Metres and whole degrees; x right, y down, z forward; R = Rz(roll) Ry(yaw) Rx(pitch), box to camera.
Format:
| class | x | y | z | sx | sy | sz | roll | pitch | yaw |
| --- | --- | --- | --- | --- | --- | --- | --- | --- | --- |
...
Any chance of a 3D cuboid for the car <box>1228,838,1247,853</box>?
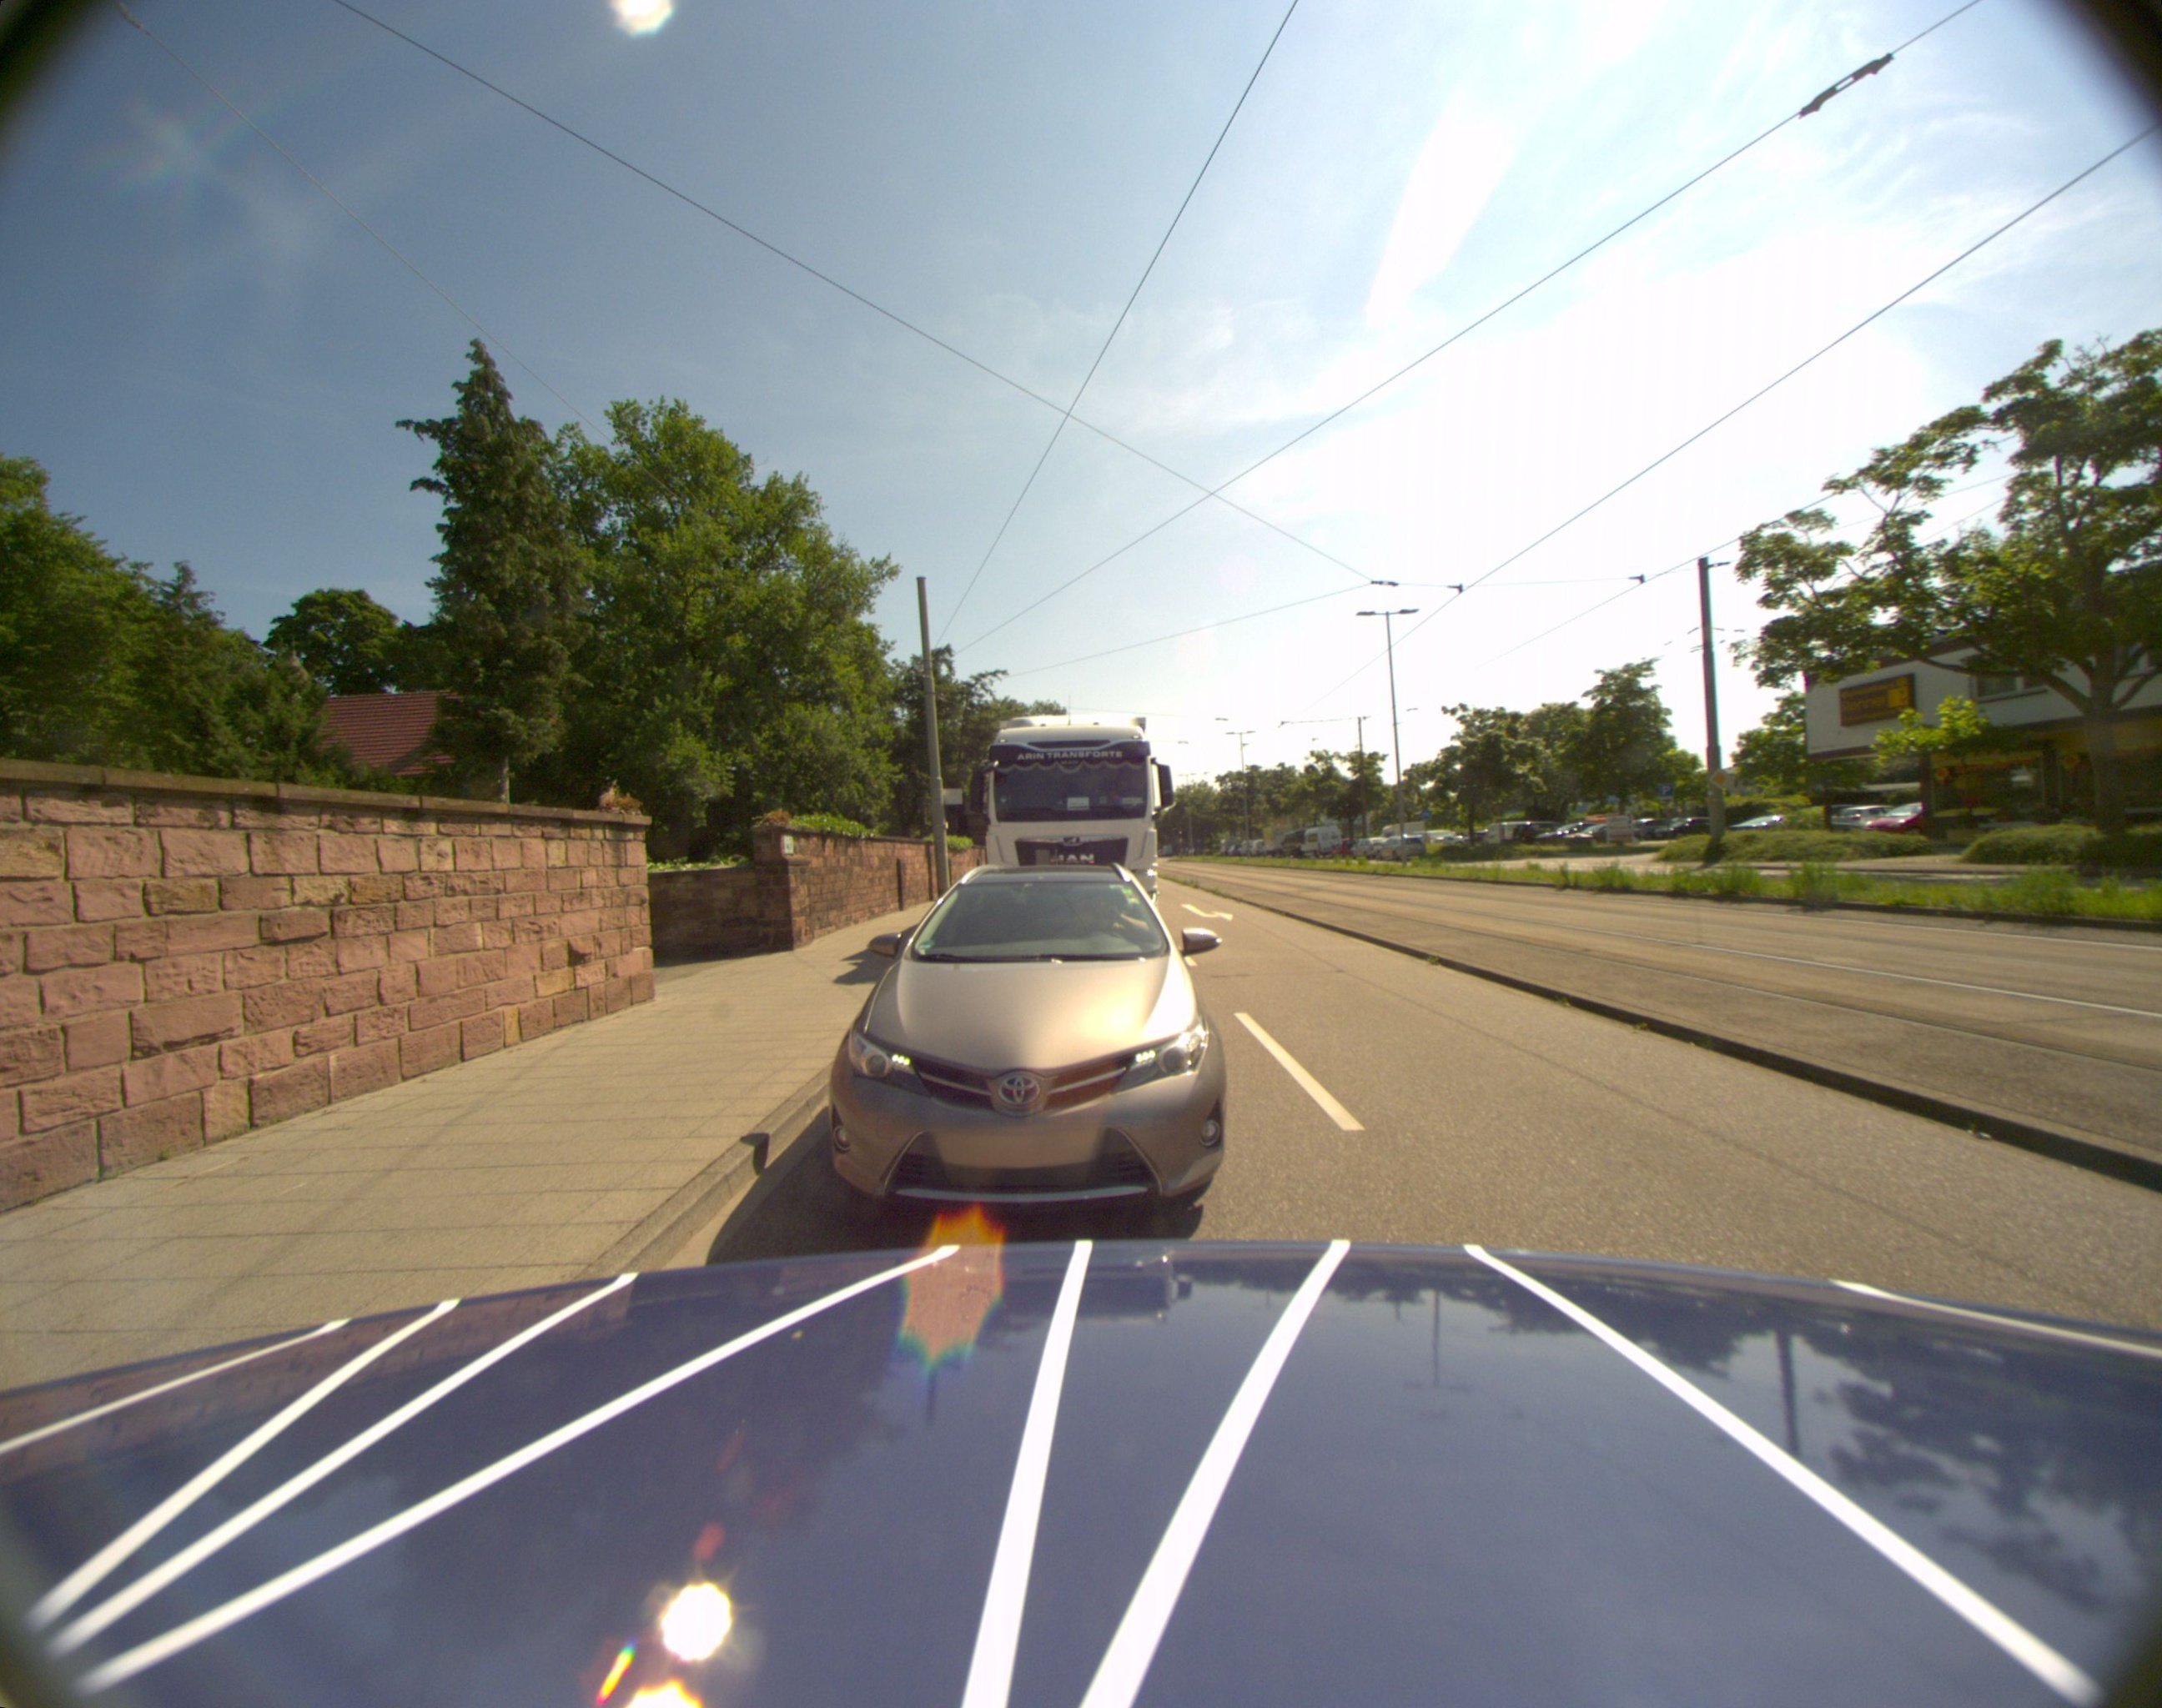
| class | x | y | z | sx | sy | sz | roll | pitch | yaw |
| --- | --- | --- | --- | --- | --- | --- | --- | --- | --- |
| car | 20.614 | -1.097 | 100.074 | 1.502 | 1.775 | 3.687 | -6 | 0 | 0 |

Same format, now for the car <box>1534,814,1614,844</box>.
| class | x | y | z | sx | sy | sz | roll | pitch | yaw |
| --- | --- | --- | --- | --- | --- | --- | --- | --- | --- |
| car | 30.514 | -1.530 | 47.119 | 3.810 | 1.625 | 1.676 | -3 | 1 | 2 |

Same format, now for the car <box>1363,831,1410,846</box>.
| class | x | y | z | sx | sy | sz | roll | pitch | yaw |
| --- | --- | --- | --- | --- | --- | --- | --- | --- | --- |
| car | 32.310 | -1.601 | 80.399 | 4.253 | 1.327 | 1.676 | -3 | 0 | 1 |

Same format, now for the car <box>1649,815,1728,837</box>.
| class | x | y | z | sx | sy | sz | roll | pitch | yaw |
| --- | --- | --- | --- | --- | --- | --- | --- | --- | --- |
| car | 43.940 | -2.010 | 54.992 | 4.252 | 1.327 | 1.676 | -3 | 0 | 2 |

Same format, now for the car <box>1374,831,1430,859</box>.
| class | x | y | z | sx | sy | sz | roll | pitch | yaw |
| --- | --- | --- | --- | --- | --- | --- | --- | --- | --- |
| car | 20.285 | -0.539 | 48.172 | 1.675 | 1.524 | 4.256 | -6 | 0 | 1 |

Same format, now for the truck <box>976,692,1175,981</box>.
| class | x | y | z | sx | sy | sz | roll | pitch | yaw |
| --- | --- | --- | --- | --- | --- | --- | --- | --- | --- |
| truck | 0.016 | -0.291 | 15.102 | 2.628 | 3.906 | 9.285 | -2 | 1 | 1 |

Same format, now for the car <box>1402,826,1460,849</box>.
| class | x | y | z | sx | sy | sz | roll | pitch | yaw |
| --- | --- | --- | --- | --- | --- | --- | --- | --- | --- |
| car | 31.163 | -1.408 | 67.883 | 2.594 | 1.800 | 5.741 | -3 | 0 | 2 |

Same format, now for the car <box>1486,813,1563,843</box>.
| class | x | y | z | sx | sy | sz | roll | pitch | yaw |
| --- | --- | --- | --- | --- | --- | --- | --- | --- | --- |
| car | 30.689 | -1.776 | 52.671 | 4.117 | 1.728 | 1.990 | -3 | 1 | -2 |

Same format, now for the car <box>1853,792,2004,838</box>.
| class | x | y | z | sx | sy | sz | roll | pitch | yaw |
| --- | --- | --- | --- | --- | --- | --- | --- | --- | --- |
| car | 35.259 | -1.586 | 31.685 | 4.252 | 1.595 | 1.676 | -3 | 1 | 2 |

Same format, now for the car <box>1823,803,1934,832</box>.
| class | x | y | z | sx | sy | sz | roll | pitch | yaw |
| --- | --- | --- | --- | --- | --- | --- | --- | --- | --- |
| car | 44.306 | -2.011 | 42.260 | 4.252 | 1.327 | 1.676 | -3 | 0 | 2 |

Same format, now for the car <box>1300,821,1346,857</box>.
| class | x | y | z | sx | sy | sz | roll | pitch | yaw |
| --- | --- | --- | --- | --- | --- | --- | --- | --- | --- |
| car | 20.278 | -1.230 | 63.992 | 2.062 | 2.638 | 5.203 | -6 | 0 | 1 |

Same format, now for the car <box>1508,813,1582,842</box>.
| class | x | y | z | sx | sy | sz | roll | pitch | yaw |
| --- | --- | --- | --- | --- | --- | --- | --- | --- | --- |
| car | 30.574 | -1.721 | 50.146 | 3.810 | 1.625 | 1.676 | -3 | 1 | 2 |

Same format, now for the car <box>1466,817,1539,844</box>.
| class | x | y | z | sx | sy | sz | roll | pitch | yaw |
| --- | --- | --- | --- | --- | --- | --- | --- | --- | --- |
| car | 30.529 | -1.689 | 55.141 | 4.117 | 1.728 | 1.990 | -3 | 1 | -2 |

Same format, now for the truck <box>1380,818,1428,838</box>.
| class | x | y | z | sx | sy | sz | roll | pitch | yaw |
| --- | --- | --- | --- | --- | --- | --- | --- | --- | --- |
| truck | 44.730 | -3.560 | 105.205 | 5.652 | 2.367 | 1.990 | -3 | 1 | -2 |

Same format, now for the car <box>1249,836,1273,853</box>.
| class | x | y | z | sx | sy | sz | roll | pitch | yaw |
| --- | --- | --- | --- | --- | --- | --- | --- | --- | --- |
| car | 20.679 | -1.061 | 87.384 | 1.502 | 1.793 | 4.633 | -6 | 0 | 1 |

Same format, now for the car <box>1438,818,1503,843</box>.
| class | x | y | z | sx | sy | sz | roll | pitch | yaw |
| --- | --- | --- | --- | --- | --- | --- | --- | --- | --- |
| car | 31.226 | -1.867 | 60.980 | 4.117 | 1.728 | 1.990 | -3 | 1 | -2 |

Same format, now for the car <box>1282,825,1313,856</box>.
| class | x | y | z | sx | sy | sz | roll | pitch | yaw |
| --- | --- | --- | --- | --- | --- | --- | --- | --- | --- |
| car | 20.000 | -1.242 | 70.410 | 1.502 | 2.609 | 4.007 | -6 | 0 | 1 |

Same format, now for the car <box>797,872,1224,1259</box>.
| class | x | y | z | sx | sy | sz | roll | pitch | yaw |
| --- | --- | --- | --- | --- | --- | --- | --- | --- | --- |
| car | -0.260 | 0.895 | 5.024 | 1.654 | 1.374 | 4.000 | -2 | 0 | 0 |

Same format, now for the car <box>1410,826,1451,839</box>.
| class | x | y | z | sx | sy | sz | roll | pitch | yaw |
| --- | --- | --- | --- | --- | --- | --- | --- | --- | --- |
| car | 43.729 | -2.634 | 95.113 | 4.253 | 1.327 | 1.676 | -3 | 0 | 1 |

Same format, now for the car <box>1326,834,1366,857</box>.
| class | x | y | z | sx | sy | sz | roll | pitch | yaw |
| --- | --- | --- | --- | --- | --- | --- | --- | --- | --- |
| car | 20.473 | -0.654 | 58.757 | 1.675 | 1.524 | 3.793 | -6 | 0 | 1 |

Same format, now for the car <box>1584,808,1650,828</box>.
| class | x | y | z | sx | sy | sz | roll | pitch | yaw |
| --- | --- | --- | --- | --- | --- | --- | --- | --- | --- |
| car | 44.092 | -2.929 | 62.518 | 4.254 | 1.327 | 1.676 | -3 | 0 | -1 |

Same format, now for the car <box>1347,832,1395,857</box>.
| class | x | y | z | sx | sy | sz | roll | pitch | yaw |
| --- | --- | --- | --- | --- | --- | --- | --- | --- | --- |
| car | 20.442 | -0.631 | 53.659 | 1.675 | 1.524 | 4.256 | -6 | 0 | 1 |

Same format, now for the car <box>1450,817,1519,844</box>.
| class | x | y | z | sx | sy | sz | roll | pitch | yaw |
| --- | --- | --- | --- | --- | --- | --- | --- | --- | --- |
| car | 30.583 | -1.766 | 57.648 | 4.117 | 1.728 | 1.990 | -3 | 1 | -2 |

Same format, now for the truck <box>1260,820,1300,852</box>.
| class | x | y | z | sx | sy | sz | roll | pitch | yaw |
| --- | --- | --- | --- | --- | --- | --- | --- | --- | --- |
| truck | 20.575 | -1.856 | 78.943 | 2.508 | 2.917 | 5.903 | -6 | 0 | 2 |

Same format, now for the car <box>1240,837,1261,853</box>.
| class | x | y | z | sx | sy | sz | roll | pitch | yaw |
| --- | --- | --- | --- | --- | --- | --- | --- | --- | --- |
| car | 20.964 | -1.112 | 94.222 | 1.502 | 1.835 | 4.059 | -6 | 0 | 0 |

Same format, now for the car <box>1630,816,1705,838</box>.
| class | x | y | z | sx | sy | sz | roll | pitch | yaw |
| --- | --- | --- | --- | --- | --- | --- | --- | --- | --- |
| car | 44.232 | -2.038 | 57.380 | 4.252 | 1.327 | 1.676 | -3 | 0 | 2 |
